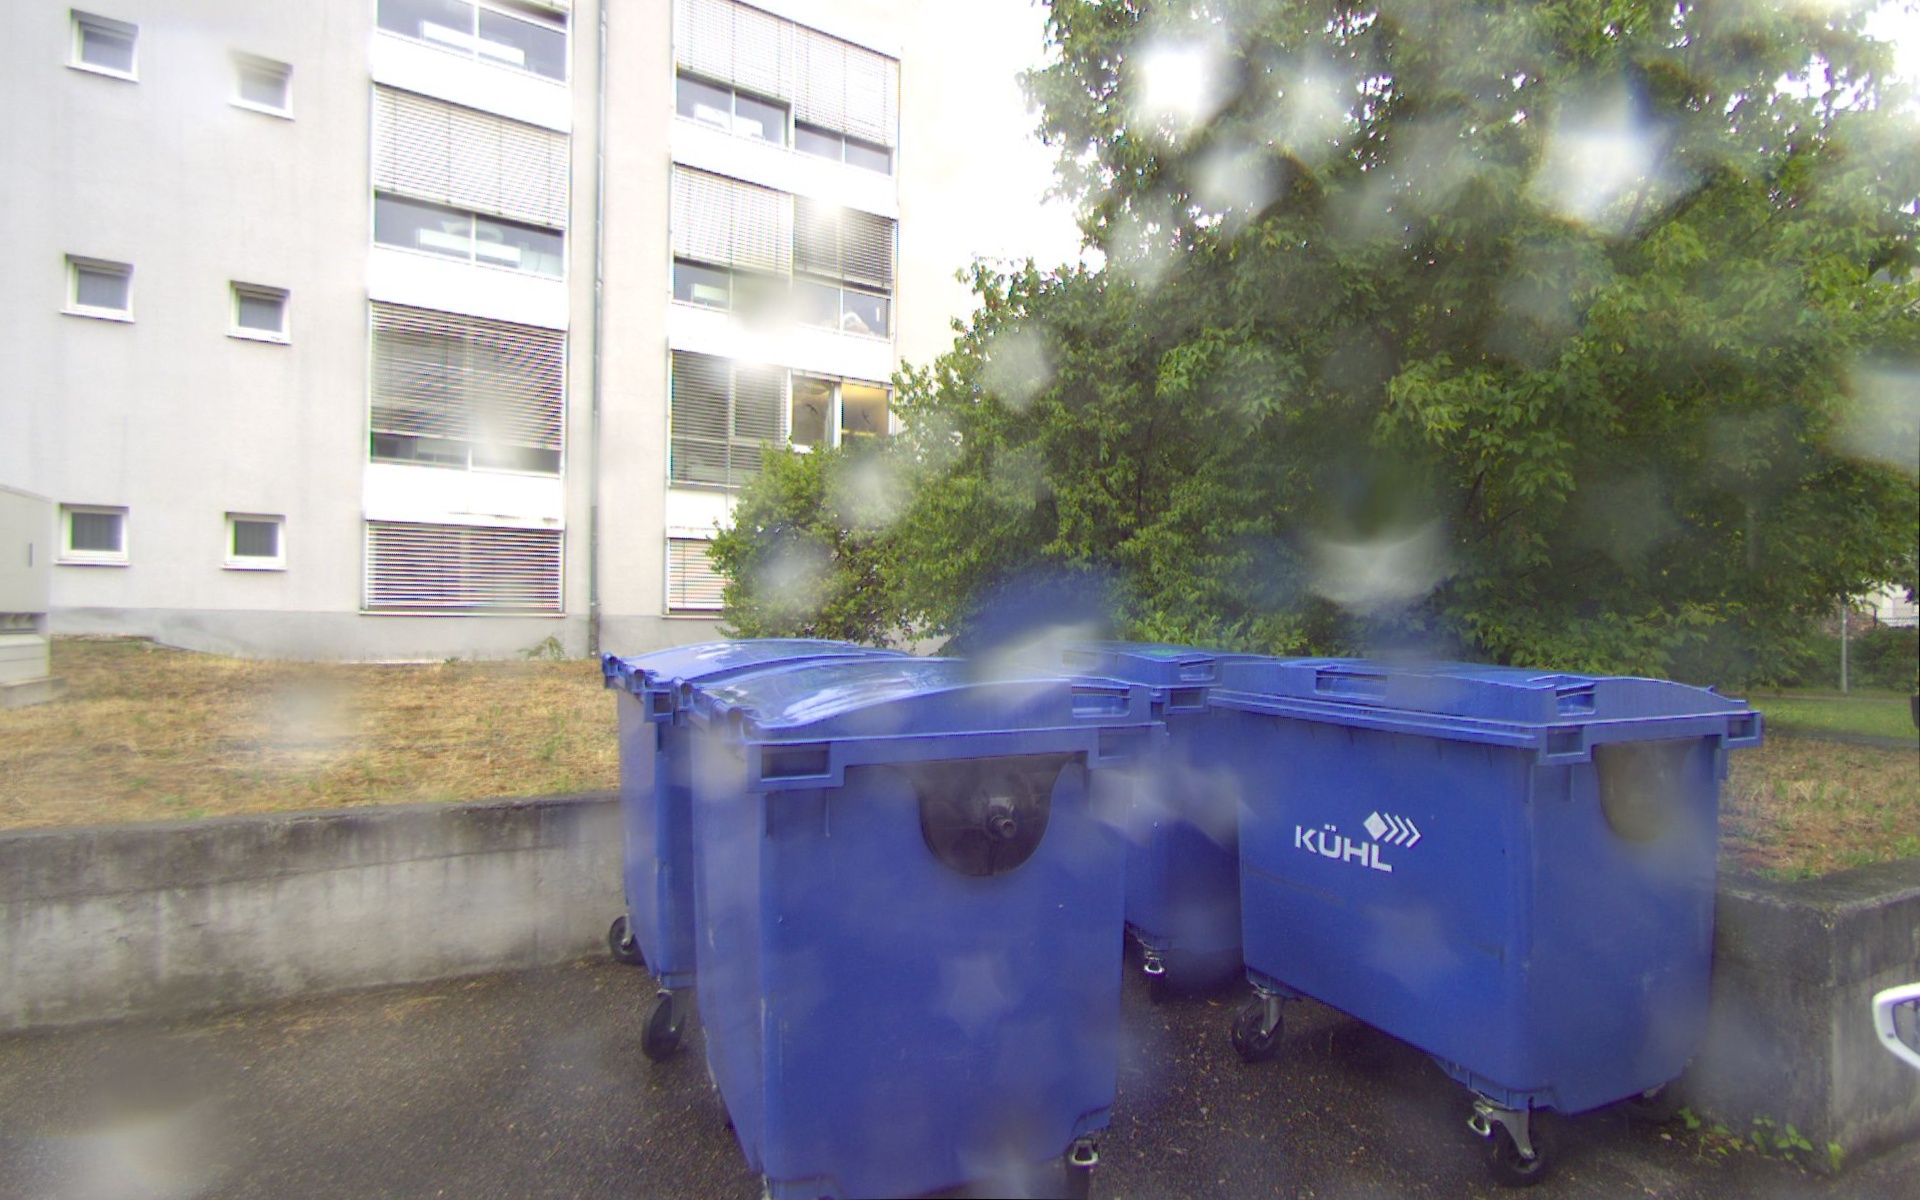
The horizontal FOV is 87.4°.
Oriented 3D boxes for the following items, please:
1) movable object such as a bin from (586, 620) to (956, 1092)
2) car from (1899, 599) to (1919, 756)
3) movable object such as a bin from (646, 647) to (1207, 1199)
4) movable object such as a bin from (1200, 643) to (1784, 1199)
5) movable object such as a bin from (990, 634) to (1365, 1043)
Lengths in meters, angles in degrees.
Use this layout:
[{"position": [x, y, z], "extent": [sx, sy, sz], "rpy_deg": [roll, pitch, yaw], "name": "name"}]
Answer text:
[{"position": [-0.763, 0.783, 3.781], "extent": [1.102, 1.355, 1.199], "rpy_deg": [-1, 1, -25], "name": "movable object such as a bin"}, {"position": [14.309, 0.954, 11.526], "extent": [1.973, 2.040, 4.767], "rpy_deg": [1, -2, -25], "name": "car"}, {"position": [-0.181, 0.821, 2.598], "extent": [1.100, 1.355, 1.200], "rpy_deg": [1, -1, -22], "name": "movable object such as a bin"}, {"position": [1.509, 0.826, 3.034], "extent": [0.993, 1.355, 1.218], "rpy_deg": [1, -1, -25], "name": "movable object such as a bin"}, {"position": [0.840, 0.834, 4.177], "extent": [0.993, 1.355, 1.218], "rpy_deg": [0, -1, -25], "name": "movable object such as a bin"}]
